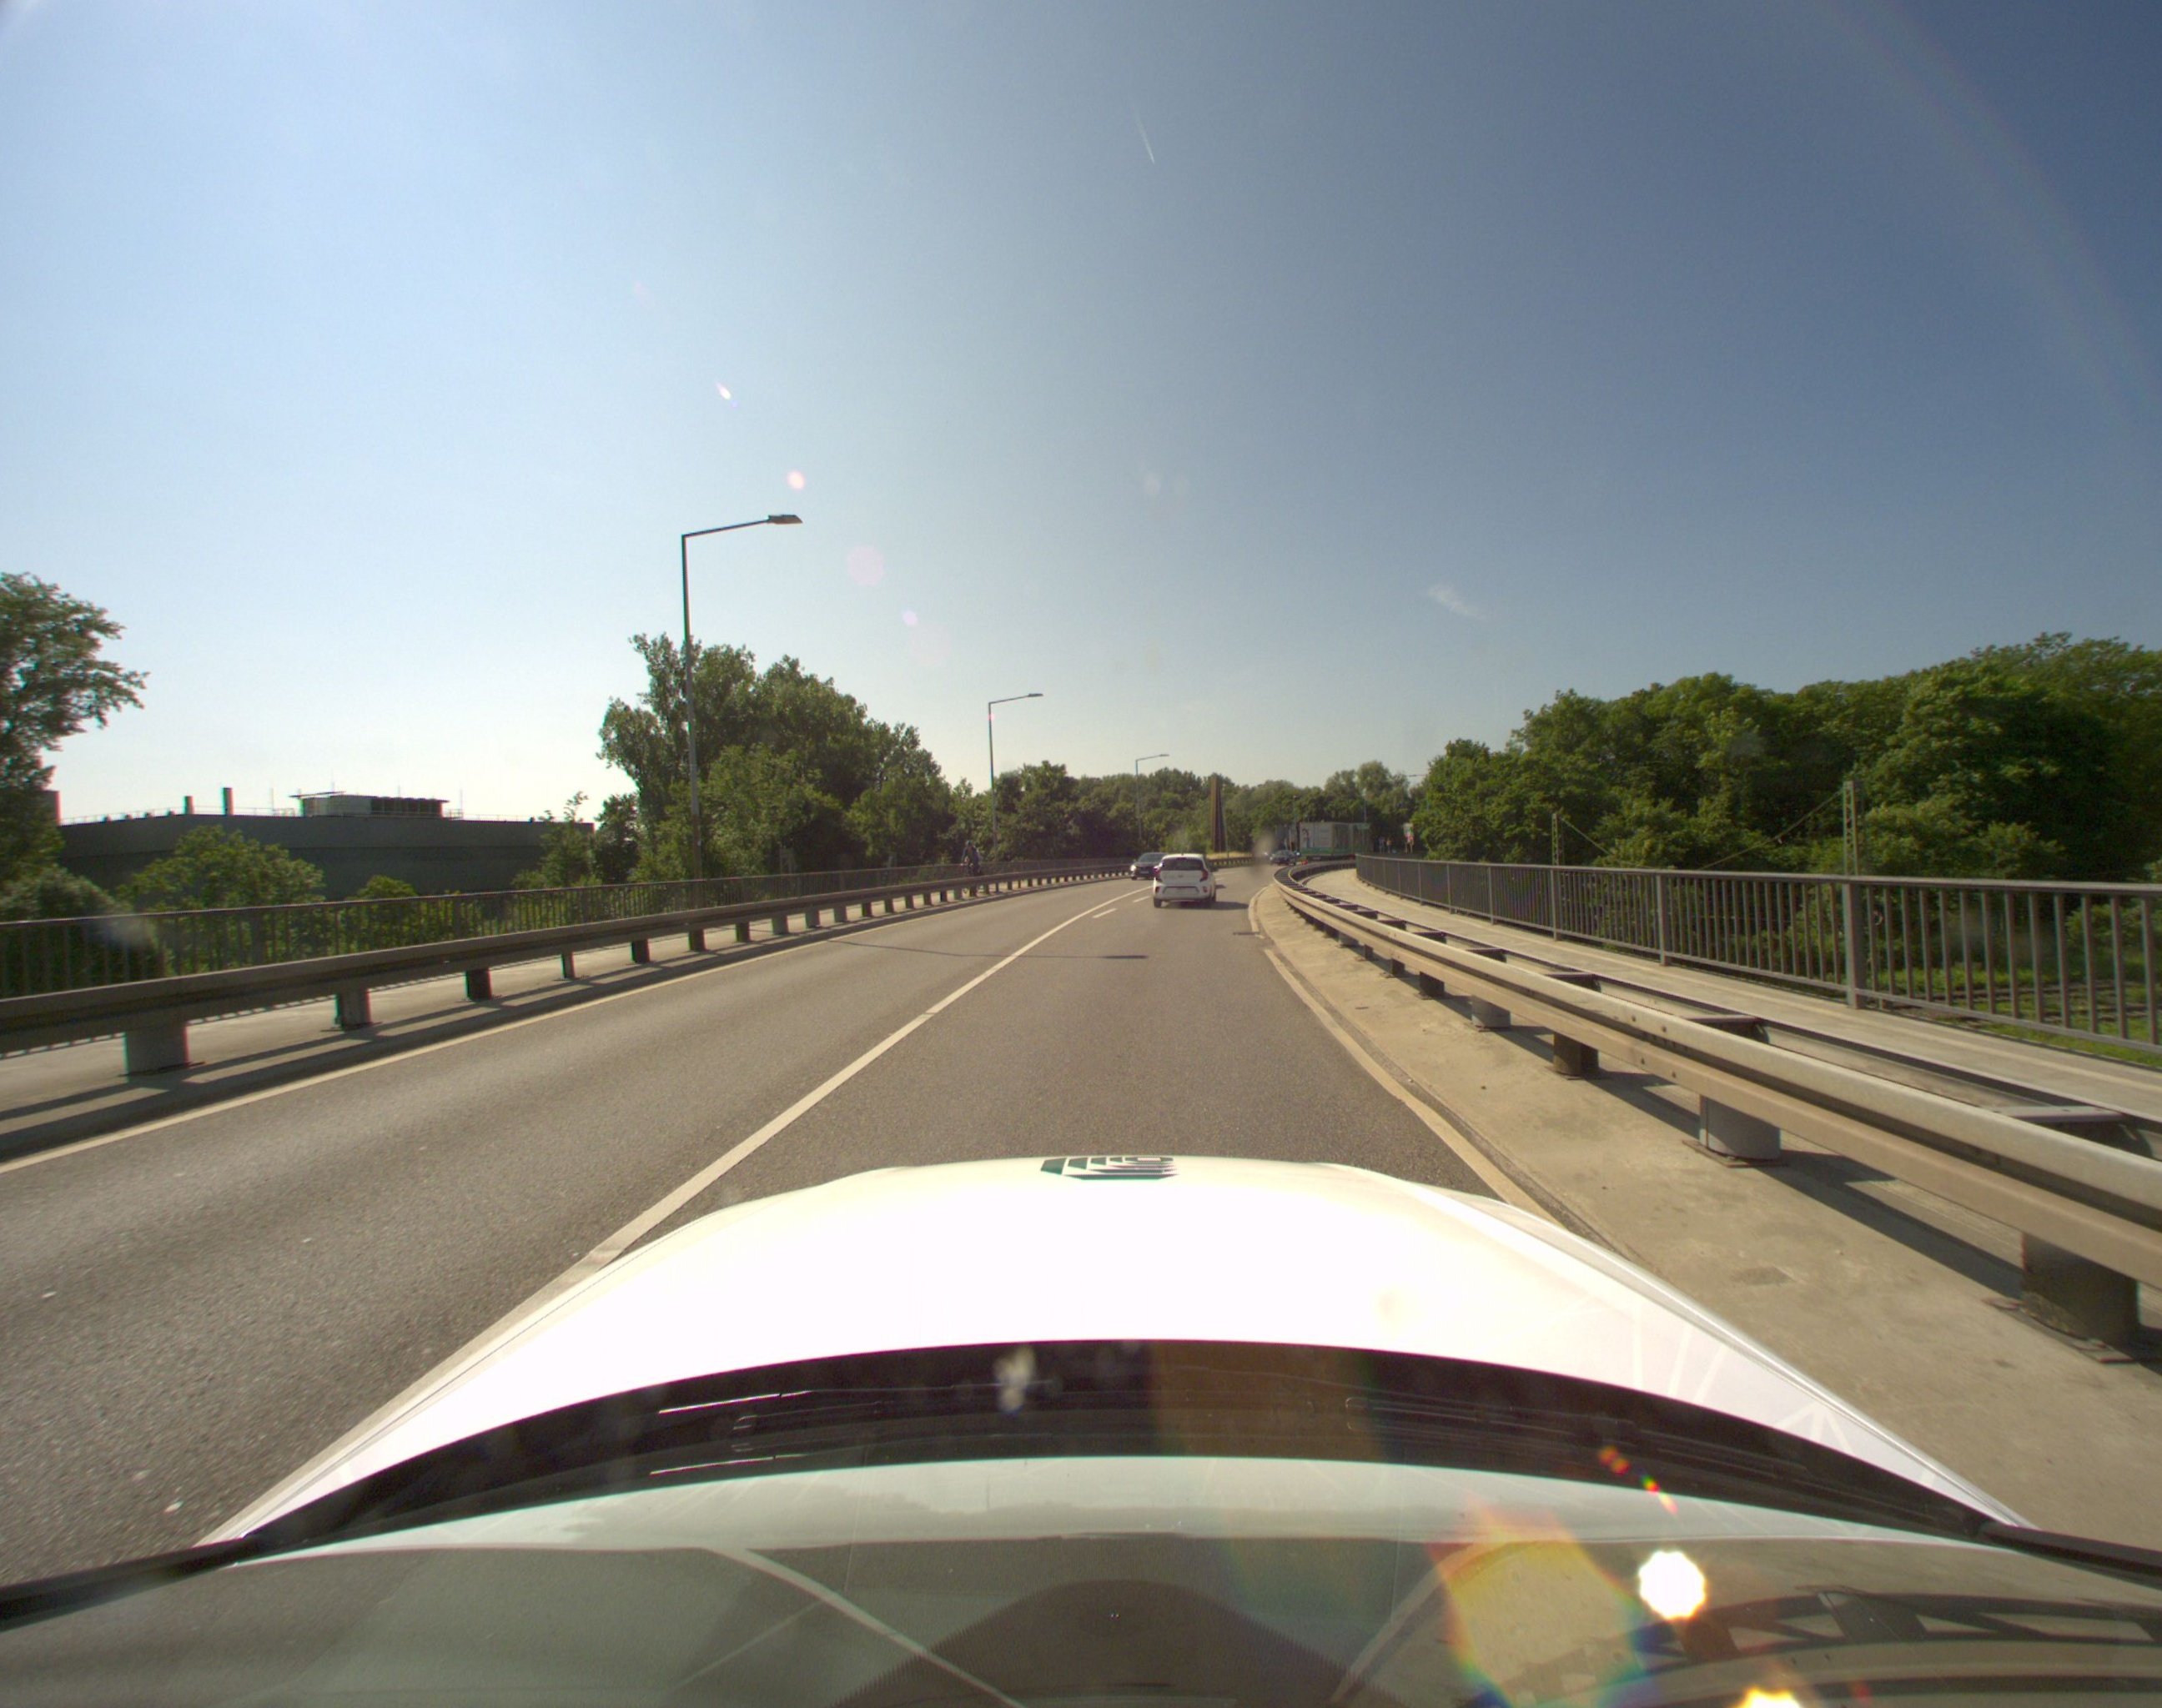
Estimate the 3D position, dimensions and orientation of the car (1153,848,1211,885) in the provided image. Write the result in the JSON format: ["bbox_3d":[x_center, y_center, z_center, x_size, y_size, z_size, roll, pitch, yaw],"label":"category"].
[{"bbox_3d":[4.455,0.510,35.297,1.925,1.486,4.918,0,0,13],"label":"car"}]

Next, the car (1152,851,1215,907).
[{"bbox_3d":[3.090,0.673,24.064,1.691,1.494,4.010,0,0,9],"label":"car"}]

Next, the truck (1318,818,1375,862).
[{"bbox_3d":[24.052,-1.261,73.394,3.229,3.758,8.422,1,1,29],"label":"truck"}]

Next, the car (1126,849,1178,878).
[{"bbox_3d":[3.958,0.490,44.785,1.804,1.430,4.886,-2,0,17],"label":"car"}]

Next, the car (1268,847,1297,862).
[{"bbox_3d":[19.666,0.048,79.333,1.838,1.442,4.542,0,1,26],"label":"car"}]

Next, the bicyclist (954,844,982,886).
[{"bbox_3d":[-4.114,0.383,29.686,0.655,1.496,1.020,0,2,15],"label":"bicyclist"}]

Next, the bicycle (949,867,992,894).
[{"bbox_3d":[-4.050,0.980,30.052,0.922,0.891,1.974,-1,1,12],"label":"bicycle"}]

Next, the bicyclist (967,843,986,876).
[{"bbox_3d":[-4.218,0.237,32.911,0.485,1.329,0.949,-1,-1,11],"label":"bicyclist"}]

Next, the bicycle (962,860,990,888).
[{"bbox_3d":[-4.213,0.795,32.907,0.570,1.046,1.715,0,1,12],"label":"bicycle"}]

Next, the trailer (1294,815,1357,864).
[{"bbox_3d":[20.058,-1.174,66.361,3.194,3.758,7.873,1,1,29],"label":"trailer"}]
